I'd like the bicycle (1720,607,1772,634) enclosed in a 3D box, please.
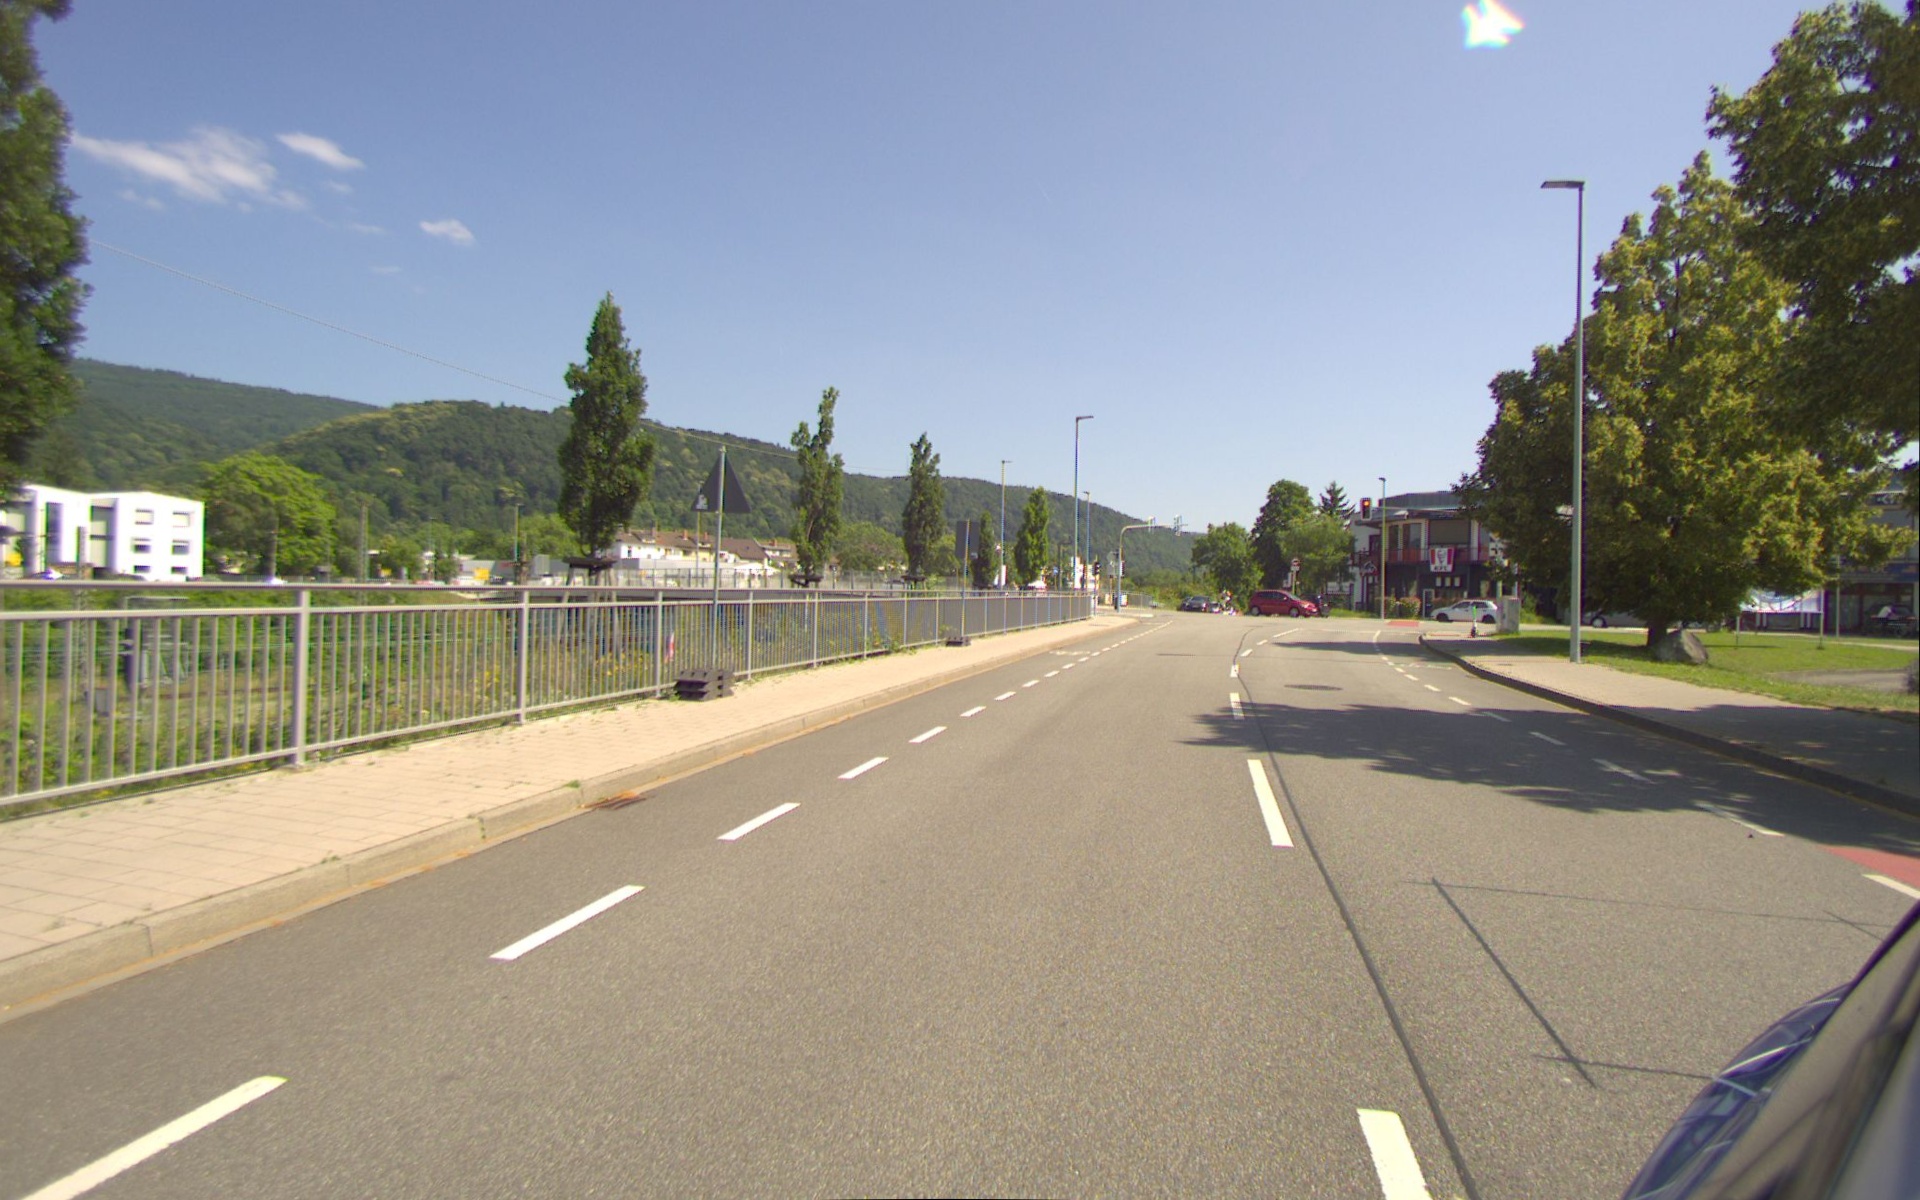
[{"bbox_3d":[33.500,0.866,43.147,1.719,1.055,0.574,2,4,42],"label":"bicycle"}]

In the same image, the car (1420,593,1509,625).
[{"bbox_3d":[29.228,0.480,58.709,4.353,1.646,1.805,2,4,41],"label":"car"}]

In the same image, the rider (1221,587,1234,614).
[{"bbox_3d":[18.841,0.044,71.316,0.682,1.835,0.540,1,3,40],"label":"rider"}]

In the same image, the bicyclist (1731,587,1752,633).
[{"bbox_3d":[33.392,0.431,43.241,0.654,1.919,0.544,2,3,41],"label":"bicyclist"}]

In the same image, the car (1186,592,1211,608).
[{"bbox_3d":[19.597,-0.031,83.032,1.590,1.271,3.660,1,1,19],"label":"car"}]

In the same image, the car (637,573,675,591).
[{"bbox_3d":[-31.570,-1.870,105.023,4.567,1.672,1.804,2,4,44],"label":"car"}]

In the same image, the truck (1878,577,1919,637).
[{"bbox_3d":[41.069,0.355,40.434,6.359,2.405,2.350,2,0,40],"label":"truck"}]

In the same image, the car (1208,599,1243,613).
[{"bbox_3d":[18.710,0.441,71.409,2.373,0.913,0.568,2,4,41],"label":"car"}]

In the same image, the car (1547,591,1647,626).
[{"bbox_3d":[34.219,0.431,54.402,4.352,1.646,1.806,2,4,41],"label":"car"}]

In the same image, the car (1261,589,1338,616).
[{"bbox_3d":[21.681,0.115,64.789,4.352,1.509,1.805,2,4,41],"label":"car"}]

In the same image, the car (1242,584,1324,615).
[{"bbox_3d":[19.418,-0.050,60.916,4.350,1.699,1.806,1,4,40],"label":"car"}]

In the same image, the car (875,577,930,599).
[{"bbox_3d":[-4.738,-1.013,82.932,4.754,1.672,1.803,2,4,45],"label":"car"}]
